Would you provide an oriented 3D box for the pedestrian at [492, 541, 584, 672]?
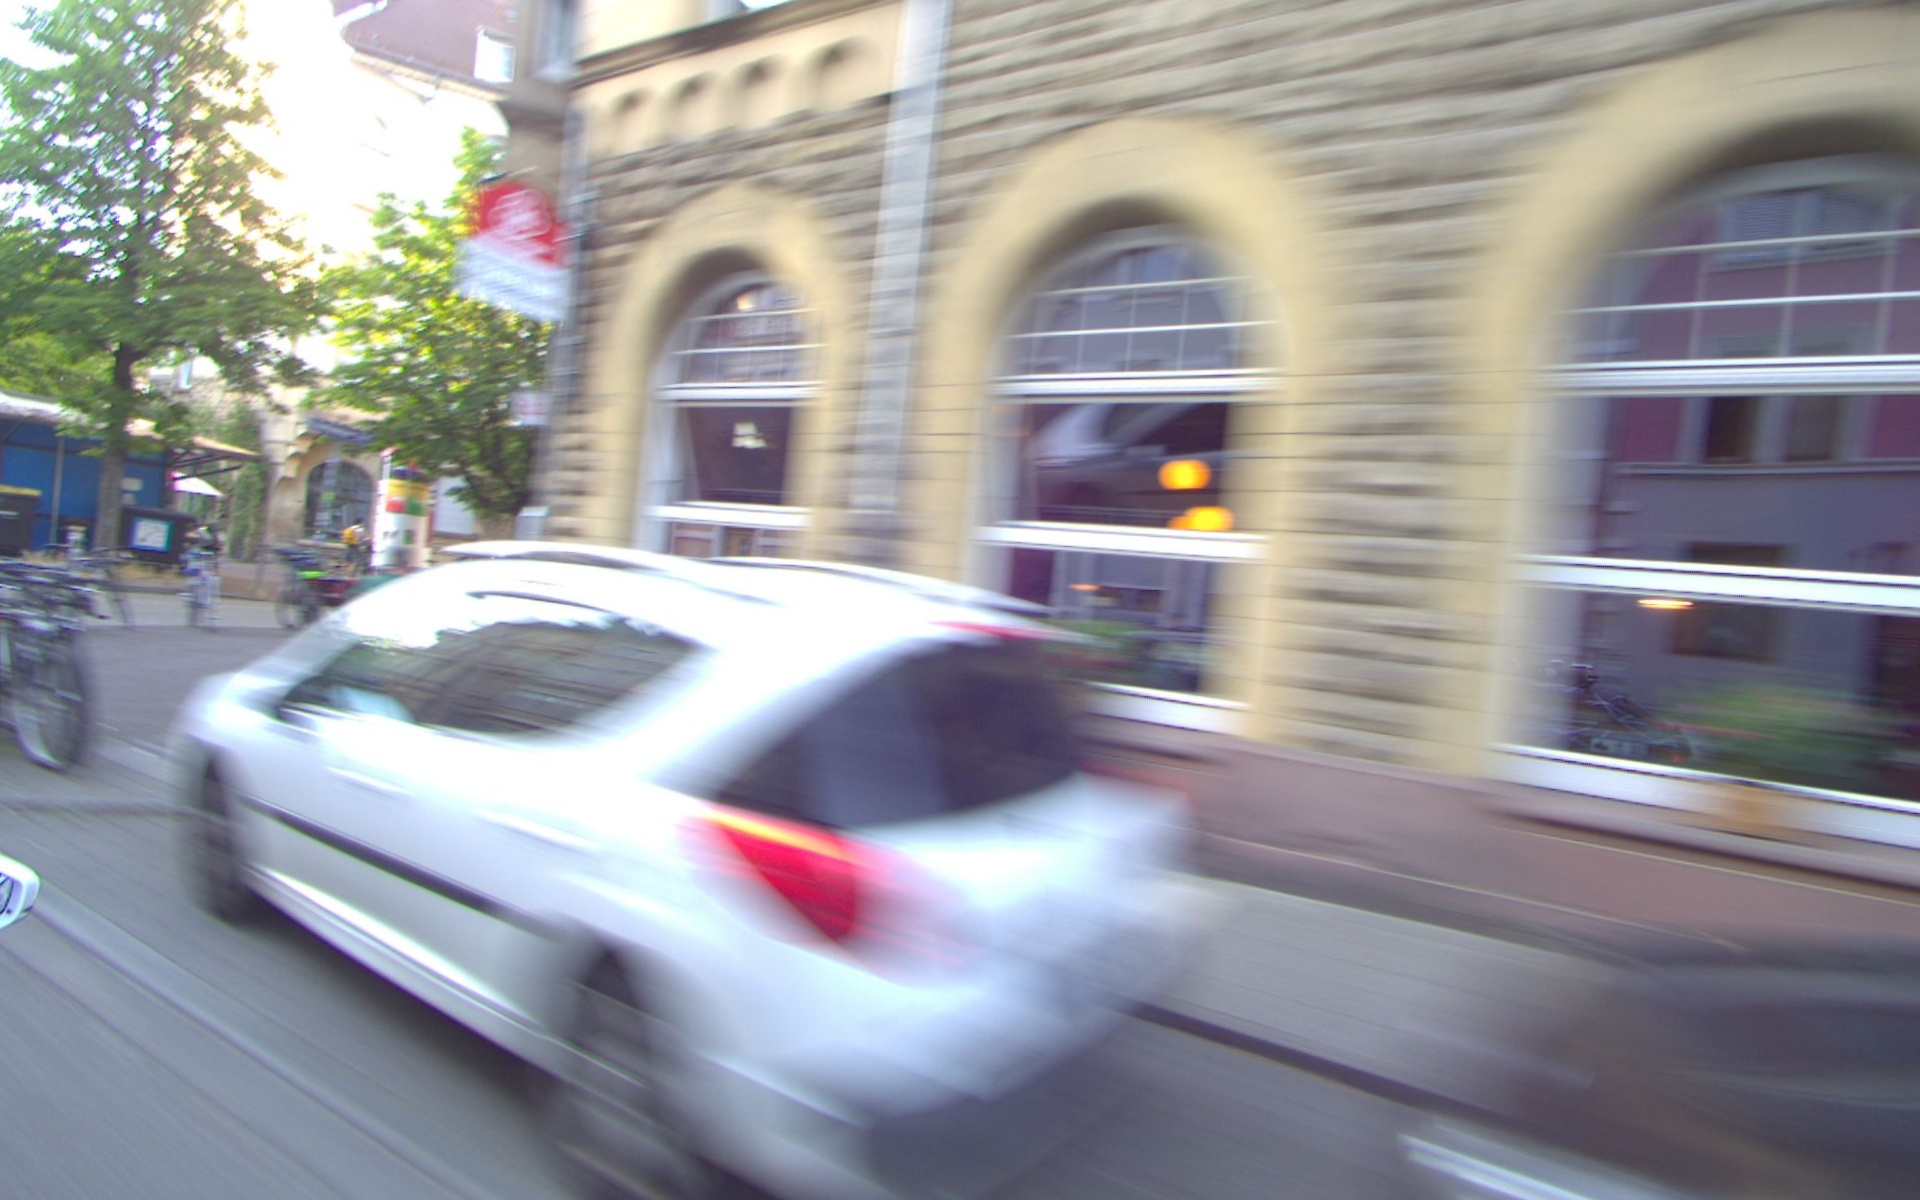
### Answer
[{"bbox_3d":[-4.954,0.081,11.872,0.829,1.414,1.100,5,0,-19],"label":"pedestrian"}]

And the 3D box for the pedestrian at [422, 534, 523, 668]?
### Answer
[{"bbox_3d":[-5.607,0.021,11.638,0.829,1.414,1.100,5,0,-19],"label":"pedestrian"}]

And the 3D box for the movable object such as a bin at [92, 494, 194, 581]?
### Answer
[{"bbox_3d":[-16.472,-1.259,20.300,0.808,1.491,1.282,7,-3,39],"label":"movable object such as a bin"}]

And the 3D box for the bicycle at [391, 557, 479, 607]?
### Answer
[{"bbox_3d":[-12.392,-0.403,23.811,0.569,1.008,1.735,6,0,31],"label":"bicycle"}]

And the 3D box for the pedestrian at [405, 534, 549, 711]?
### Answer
[{"bbox_3d":[-4.232,0.172,8.898,0.827,1.415,1.100,5,2,-13],"label":"pedestrian"}]

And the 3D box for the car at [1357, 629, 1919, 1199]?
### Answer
[{"bbox_3d":[2.952,1.042,1.210,4.477,1.505,1.765,6,3,27],"label":"car"}]

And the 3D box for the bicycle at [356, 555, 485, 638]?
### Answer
[{"bbox_3d":[-8.371,-0.028,15.710,0.547,1.165,1.835,6,0,17],"label":"bicycle"}]

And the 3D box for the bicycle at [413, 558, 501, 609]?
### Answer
[{"bbox_3d":[-11.721,-0.366,23.474,0.569,1.008,1.735,6,0,31],"label":"bicycle"}]

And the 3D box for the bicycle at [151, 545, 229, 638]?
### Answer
[{"bbox_3d":[-9.553,-0.124,12.458,1.683,0.992,0.445,6,1,44],"label":"bicycle"}]

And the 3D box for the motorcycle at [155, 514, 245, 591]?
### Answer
[{"bbox_3d":[-16.629,-1.033,21.992,1.851,1.472,0.868,7,1,32],"label":"motorcycle"}]

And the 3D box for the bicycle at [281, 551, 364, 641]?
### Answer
[{"bbox_3d":[-8.823,-0.078,13.891,1.810,1.084,0.473,6,1,44],"label":"bicycle"}]

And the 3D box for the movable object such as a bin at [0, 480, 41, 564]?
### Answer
[{"bbox_3d":[-17.649,-1.451,18.328,0.754,1.496,1.219,7,4,39],"label":"movable object such as a bin"}]

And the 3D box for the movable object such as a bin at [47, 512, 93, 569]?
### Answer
[{"bbox_3d":[-17.109,-1.140,19.339,0.479,1.014,0.480,7,1,31],"label":"movable object such as a bin"}]

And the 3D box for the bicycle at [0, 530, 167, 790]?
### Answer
[{"bbox_3d":[-5.296,0.240,5.605,2.080,1.167,0.684,7,4,32],"label":"bicycle"}]

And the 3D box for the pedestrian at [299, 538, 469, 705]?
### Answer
[{"bbox_3d":[-5.031,0.165,8.897,0.827,1.302,1.415,5,1,-12],"label":"pedestrian"}]

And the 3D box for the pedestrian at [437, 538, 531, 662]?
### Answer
[{"bbox_3d":[-5.914,0.007,12.554,0.829,1.414,1.100,5,0,-18],"label":"pedestrian"}]

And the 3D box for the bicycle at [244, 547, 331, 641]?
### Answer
[{"bbox_3d":[-8.928,-0.104,13.321,1.810,1.080,0.510,6,1,44],"label":"bicycle"}]

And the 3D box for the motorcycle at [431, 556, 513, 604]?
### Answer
[{"bbox_3d":[-12.681,-0.510,26.184,0.569,1.067,1.829,6,0,31],"label":"motorcycle"}]

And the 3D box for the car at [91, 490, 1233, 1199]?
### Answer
[{"bbox_3d":[-1.476,0.501,3.782,4.394,1.505,1.761,7,3,36],"label":"car"}]

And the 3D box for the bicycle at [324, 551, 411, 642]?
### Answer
[{"bbox_3d":[-8.373,-0.069,14.191,1.810,1.126,0.500,6,1,44],"label":"bicycle"}]

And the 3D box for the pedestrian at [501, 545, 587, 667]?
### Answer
[{"bbox_3d":[-5.257,0.076,12.778,0.829,1.414,1.100,5,0,-18],"label":"pedestrian"}]

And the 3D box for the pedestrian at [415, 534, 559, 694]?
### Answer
[{"bbox_3d":[-4.641,0.124,9.948,0.995,1.415,0.894,6,2,-12],"label":"pedestrian"}]

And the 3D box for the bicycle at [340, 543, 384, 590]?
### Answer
[{"bbox_3d":[-16.620,-0.932,28.004,0.626,1.203,1.906,5,0,-19],"label":"bicycle"}]

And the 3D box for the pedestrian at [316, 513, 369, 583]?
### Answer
[{"bbox_3d":[-17.087,-1.425,27.849,0.966,1.812,1.001,5,1,-21],"label":"pedestrian"}]

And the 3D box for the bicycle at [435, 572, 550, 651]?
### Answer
[{"bbox_3d":[-7.580,0.211,16.408,0.528,1.176,1.835,6,0,17],"label":"bicycle"}]

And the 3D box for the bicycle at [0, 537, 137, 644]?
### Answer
[{"bbox_3d":[-9.723,-0.101,10.978,0.425,1.052,1.473,5,0,-10],"label":"bicycle"}]
